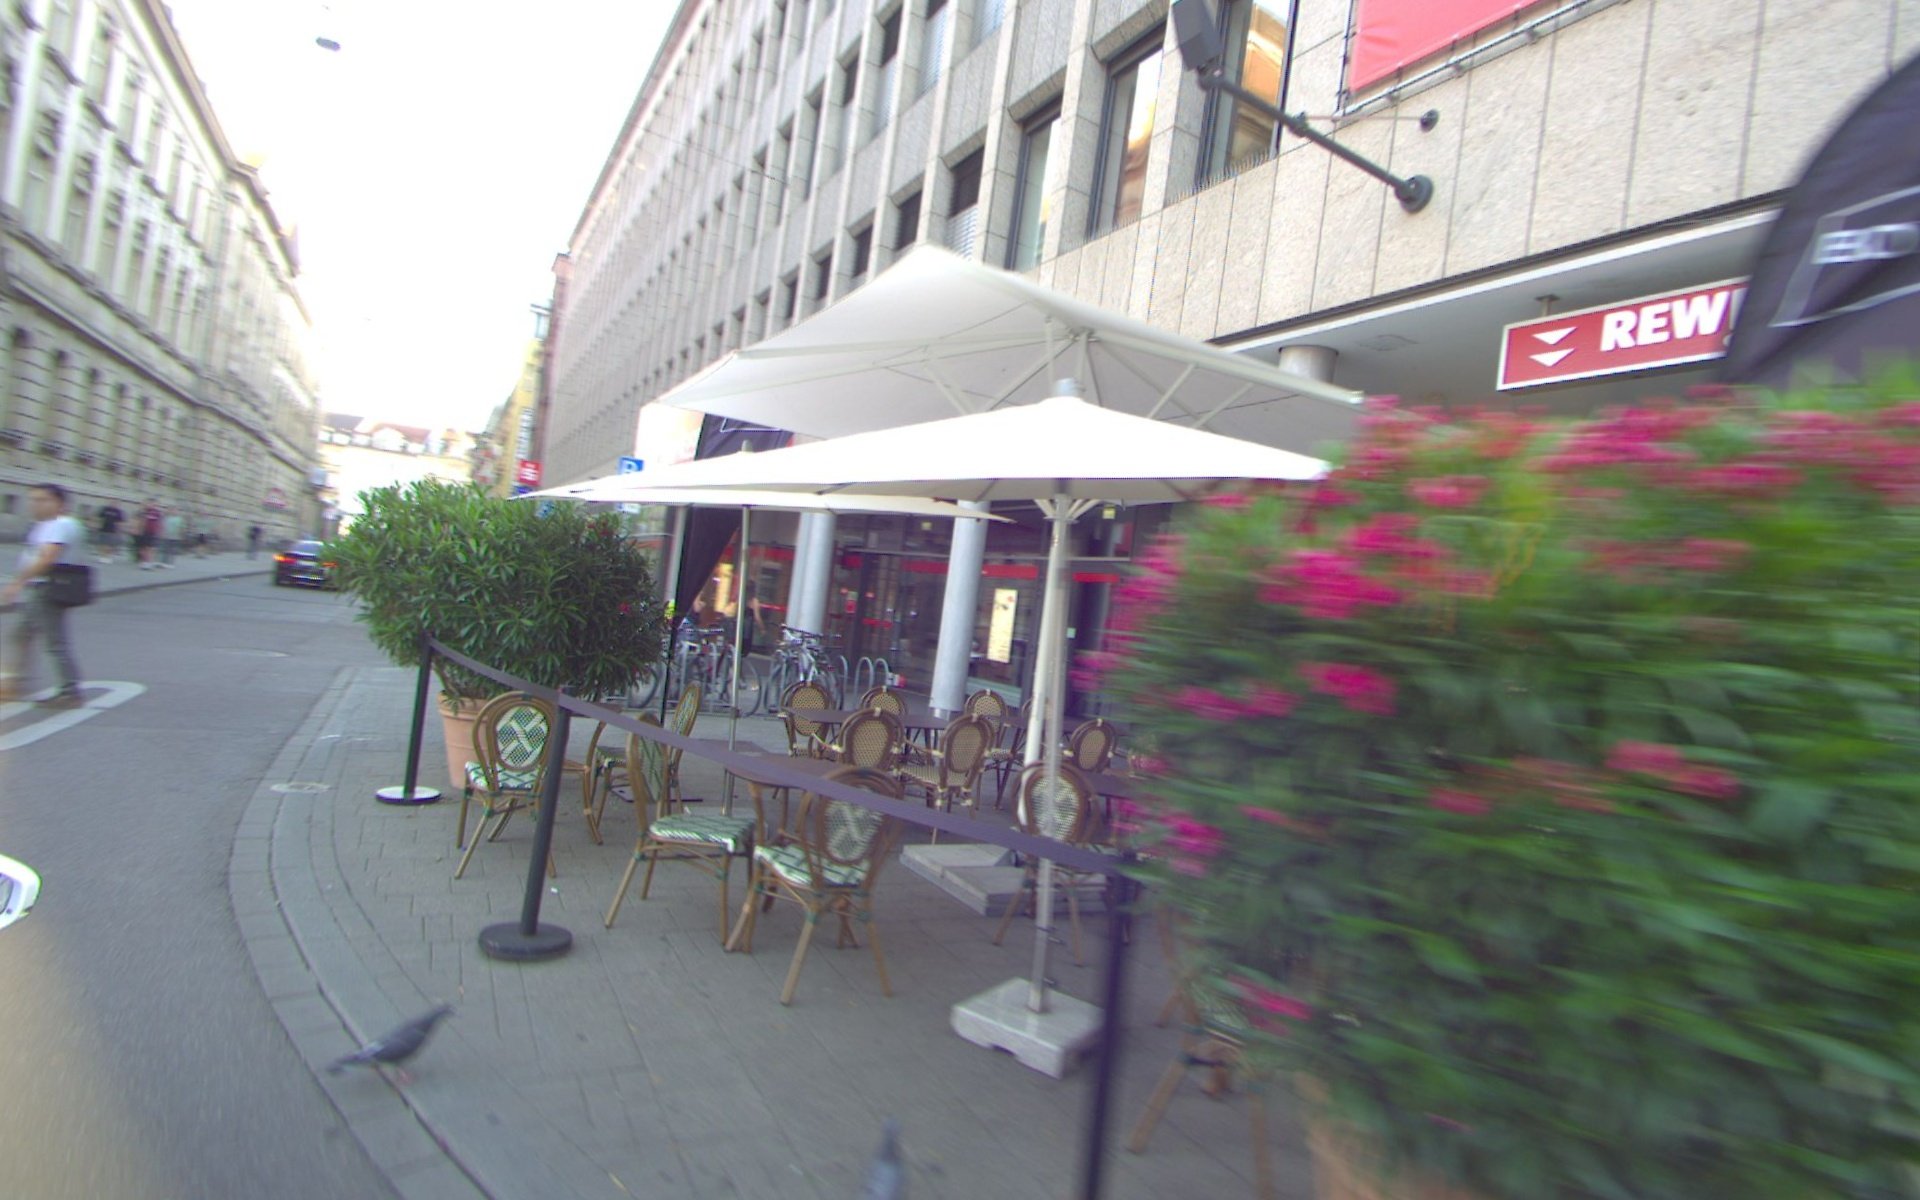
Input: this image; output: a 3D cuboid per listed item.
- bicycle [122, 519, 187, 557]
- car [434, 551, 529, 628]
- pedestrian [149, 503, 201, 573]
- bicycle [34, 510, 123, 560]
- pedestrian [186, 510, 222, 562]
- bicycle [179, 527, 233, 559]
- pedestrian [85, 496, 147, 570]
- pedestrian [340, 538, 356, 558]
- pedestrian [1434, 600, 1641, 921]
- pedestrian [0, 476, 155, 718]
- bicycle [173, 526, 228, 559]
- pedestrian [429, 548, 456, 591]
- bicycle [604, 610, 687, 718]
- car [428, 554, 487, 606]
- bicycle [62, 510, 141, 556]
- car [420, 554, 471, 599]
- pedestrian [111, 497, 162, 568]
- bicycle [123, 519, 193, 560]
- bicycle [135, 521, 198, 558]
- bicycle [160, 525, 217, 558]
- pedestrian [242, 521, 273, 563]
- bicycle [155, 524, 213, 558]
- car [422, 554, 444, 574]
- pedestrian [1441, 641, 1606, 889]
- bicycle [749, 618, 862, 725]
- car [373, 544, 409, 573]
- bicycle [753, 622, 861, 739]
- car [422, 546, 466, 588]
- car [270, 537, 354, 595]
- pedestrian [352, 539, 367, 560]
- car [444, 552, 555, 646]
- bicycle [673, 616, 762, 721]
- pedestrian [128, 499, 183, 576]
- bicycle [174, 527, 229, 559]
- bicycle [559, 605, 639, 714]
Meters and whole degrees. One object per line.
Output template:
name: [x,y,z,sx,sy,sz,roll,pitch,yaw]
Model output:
bicycle: [-29.123,-2.230,36.396,1.669,1.053,0.483,11,-2,-30]
car: [-13.277,-0.340,27.808,1.759,1.654,4.057,11,-3,-31]
pedestrian: [-21.658,-1.714,27.779,0.782,1.770,0.716,12,-3,-31]
bicycle: [-24.441,-1.797,27.930,1.665,1.053,0.485,11,-2,-24]
pedestrian: [-28.117,-2.374,37.429,0.714,1.770,0.663,12,-3,-31]
bicycle: [-32.707,-2.457,43.659,1.669,1.053,0.483,11,-2,-30]
pedestrian: [-21.345,-1.680,25.451,0.793,1.692,0.967,12,-3,-31]
pedestrian: [-57.650,-4.901,94.760,0.928,1.770,0.803,12,-3,-32]
pedestrian: [3.962,1.084,6.921,0.774,2.038,0.683,8,1,-28]
pedestrian: [-6.798,-0.020,7.563,0.861,1.665,0.728,8,-1,-26]
bicycle: [-31.817,-2.390,42.166,1.669,1.053,0.483,11,-2,-30]
pedestrian: [-22.924,-1.340,44.590,0.716,1.812,0.820,8,0,-18]
bicycle: [-3.680,0.714,11.693,0.554,1.054,1.673,6,0,-27]
car: [-18.589,-0.769,37.132,1.633,1.539,3.261,11,-2,-28]
bicycle: [-25.872,-2.006,30.334,0.481,1.052,1.678,8,-3,44]
car: [-21.657,-0.999,42.326,1.633,1.539,3.261,11,-2,-28]
pedestrian: [-22.086,-1.801,27.000,0.685,1.770,0.716,12,-3,-31]
bicycle: [-26.914,-2.023,33.778,1.669,1.053,0.483,11,-2,-30]
bicycle: [-29.614,-2.255,37.565,1.669,1.053,0.483,11,-2,-30]
bicycle: [-31.358,-2.372,40.907,1.669,1.053,0.483,11,-2,-30]
pedestrian: [-31.772,-2.613,45.484,0.799,1.770,0.803,12,-3,-31]
bicycle: [-31.196,-2.366,40.479,1.669,1.053,0.483,11,-2,-30]
car: [-50.285,-3.454,96.019,1.633,1.539,3.261,11,-2,-28]
pedestrian: [4.597,1.332,8.237,0.710,1.871,0.661,8,1,-23]
bicycle: [-1.991,0.885,12.786,0.542,1.131,1.794,6,0,-37]
car: [-36.236,-2.655,64.151,1.781,1.528,3.970,9,-2,-29]
bicycle: [-1.813,0.895,11.681,0.540,1.131,1.799,6,0,-29]
car: [-29.298,-1.885,57.042,1.857,2.040,3.738,10,-2,-28]
car: [-19.833,-1.046,30.914,1.756,1.425,4.023,8,-1,-29]
pedestrian: [-57.023,-4.784,95.594,0.928,1.770,0.803,12,-3,-32]
car: [-10.424,-0.077,22.600,1.758,1.654,4.022,11,-2,-29]
bicycle: [-2.945,0.794,12.106,0.554,1.054,1.673,6,0,-27]
pedestrian: [-20.672,-1.606,25.869,0.694,1.831,0.967,12,-3,-31]
bicycle: [-32.071,-2.410,42.552,1.669,1.053,0.483,11,-2,-30]
bicycle: [-4.167,0.653,11.544,0.554,1.054,1.673,6,0,-27]
